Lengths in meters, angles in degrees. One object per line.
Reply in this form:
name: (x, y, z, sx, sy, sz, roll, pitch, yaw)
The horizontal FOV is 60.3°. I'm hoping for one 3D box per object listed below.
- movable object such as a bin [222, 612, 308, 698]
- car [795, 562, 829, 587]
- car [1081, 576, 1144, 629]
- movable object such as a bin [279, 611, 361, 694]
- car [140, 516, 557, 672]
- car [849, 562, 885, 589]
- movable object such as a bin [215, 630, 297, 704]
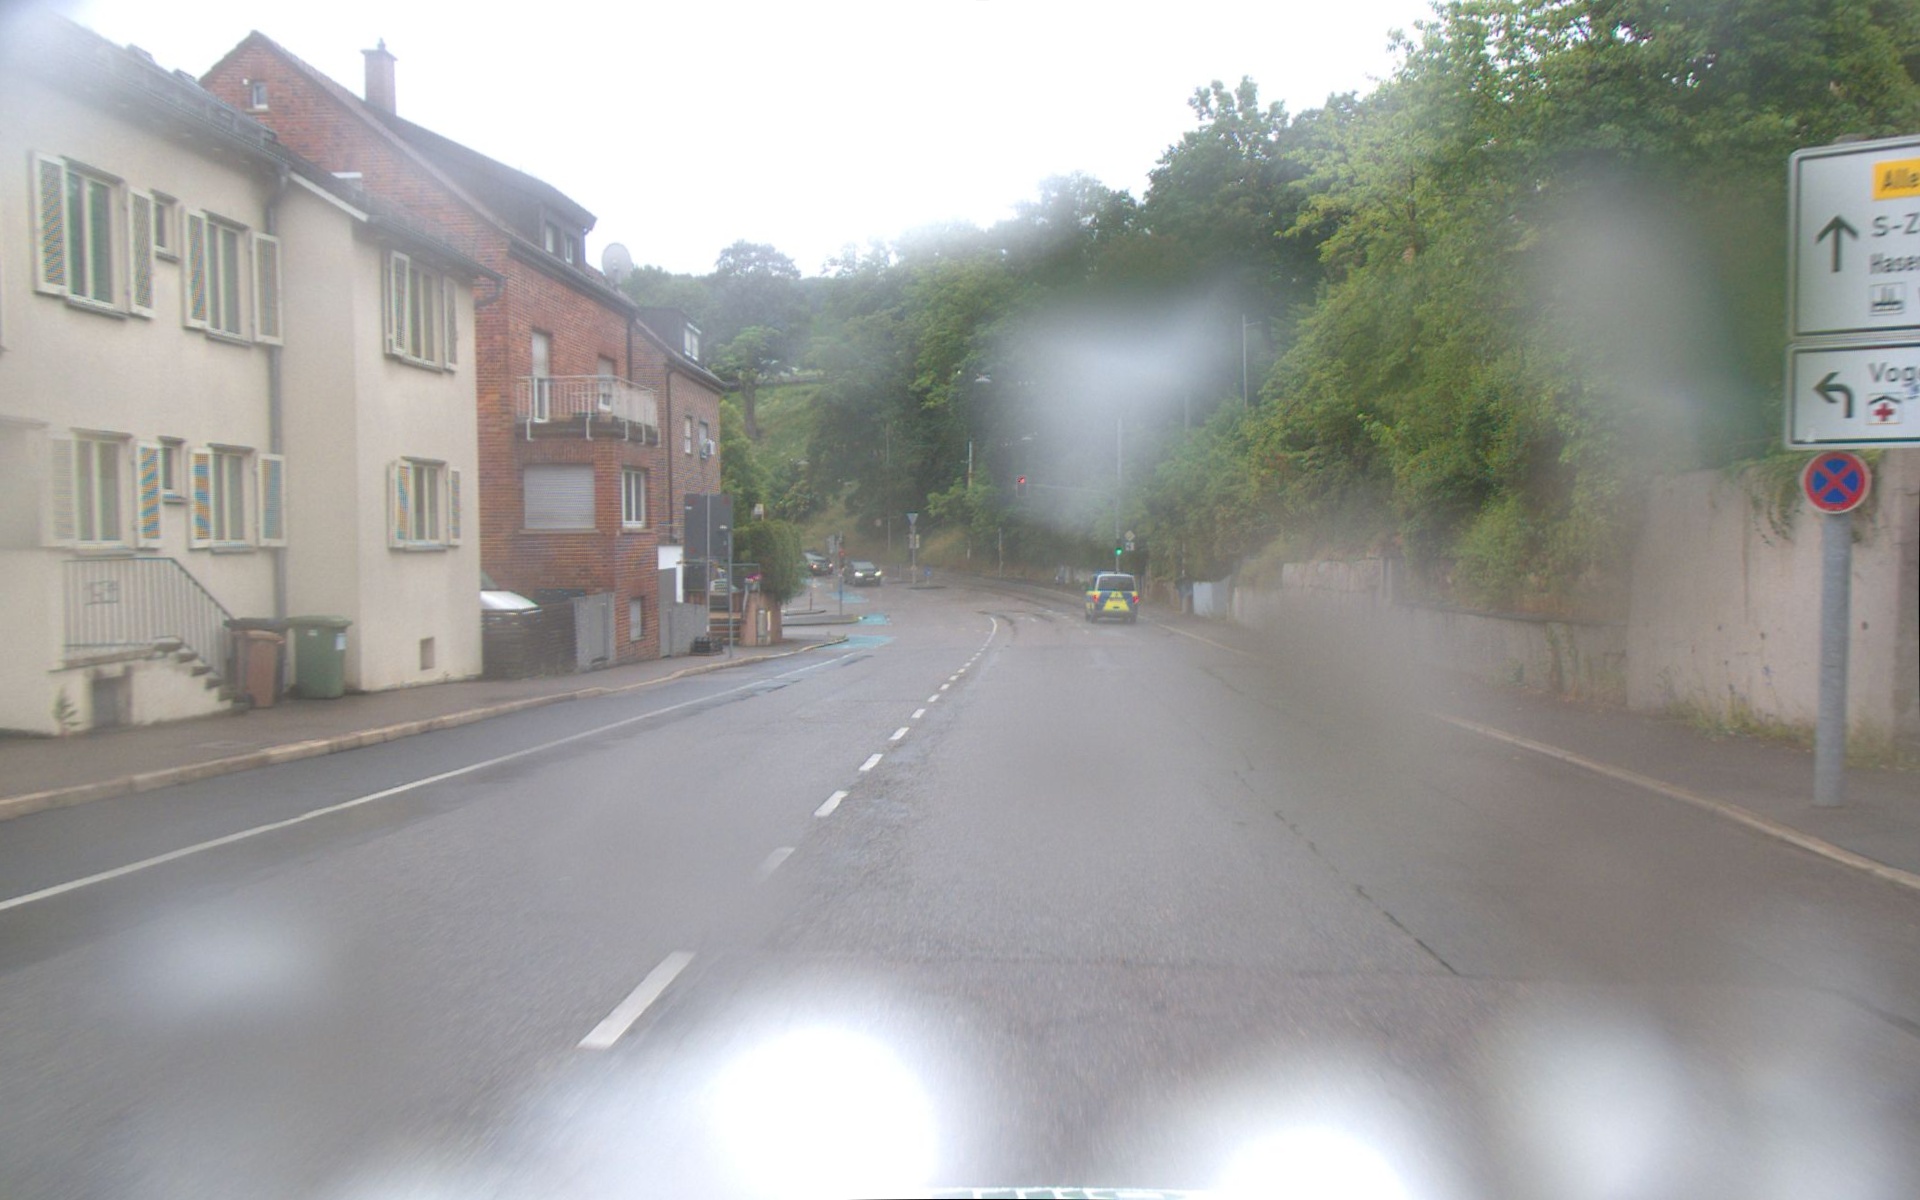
movable object such as a bin: (-8.854, 0.695, 21.087, 0.765, 1.065, 0.709, 1, 0, 3)
car: (-10.320, -1.787, 114.991, 1.712, 1.576, 3.986, -4, 2, -14)
car: (6.155, 0.048, 67.219, 2.260, 1.973, 4.327, -2, 1, 3)
movable object such as a bin: (-8.458, 0.685, 21.882, 0.765, 1.065, 0.738, 1, 0, 3)
car: (-10.680, -0.087, 29.207, 6.514, 2.598, 2.168, 0, -2, 3)
car: (-6.001, -1.600, 106.358, 1.710, 1.576, 3.990, -3, 3, -11)
movable object such as a bin: (-8.561, 0.807, 20.135, 0.659, 0.874, 0.709, 1, 0, 3)
